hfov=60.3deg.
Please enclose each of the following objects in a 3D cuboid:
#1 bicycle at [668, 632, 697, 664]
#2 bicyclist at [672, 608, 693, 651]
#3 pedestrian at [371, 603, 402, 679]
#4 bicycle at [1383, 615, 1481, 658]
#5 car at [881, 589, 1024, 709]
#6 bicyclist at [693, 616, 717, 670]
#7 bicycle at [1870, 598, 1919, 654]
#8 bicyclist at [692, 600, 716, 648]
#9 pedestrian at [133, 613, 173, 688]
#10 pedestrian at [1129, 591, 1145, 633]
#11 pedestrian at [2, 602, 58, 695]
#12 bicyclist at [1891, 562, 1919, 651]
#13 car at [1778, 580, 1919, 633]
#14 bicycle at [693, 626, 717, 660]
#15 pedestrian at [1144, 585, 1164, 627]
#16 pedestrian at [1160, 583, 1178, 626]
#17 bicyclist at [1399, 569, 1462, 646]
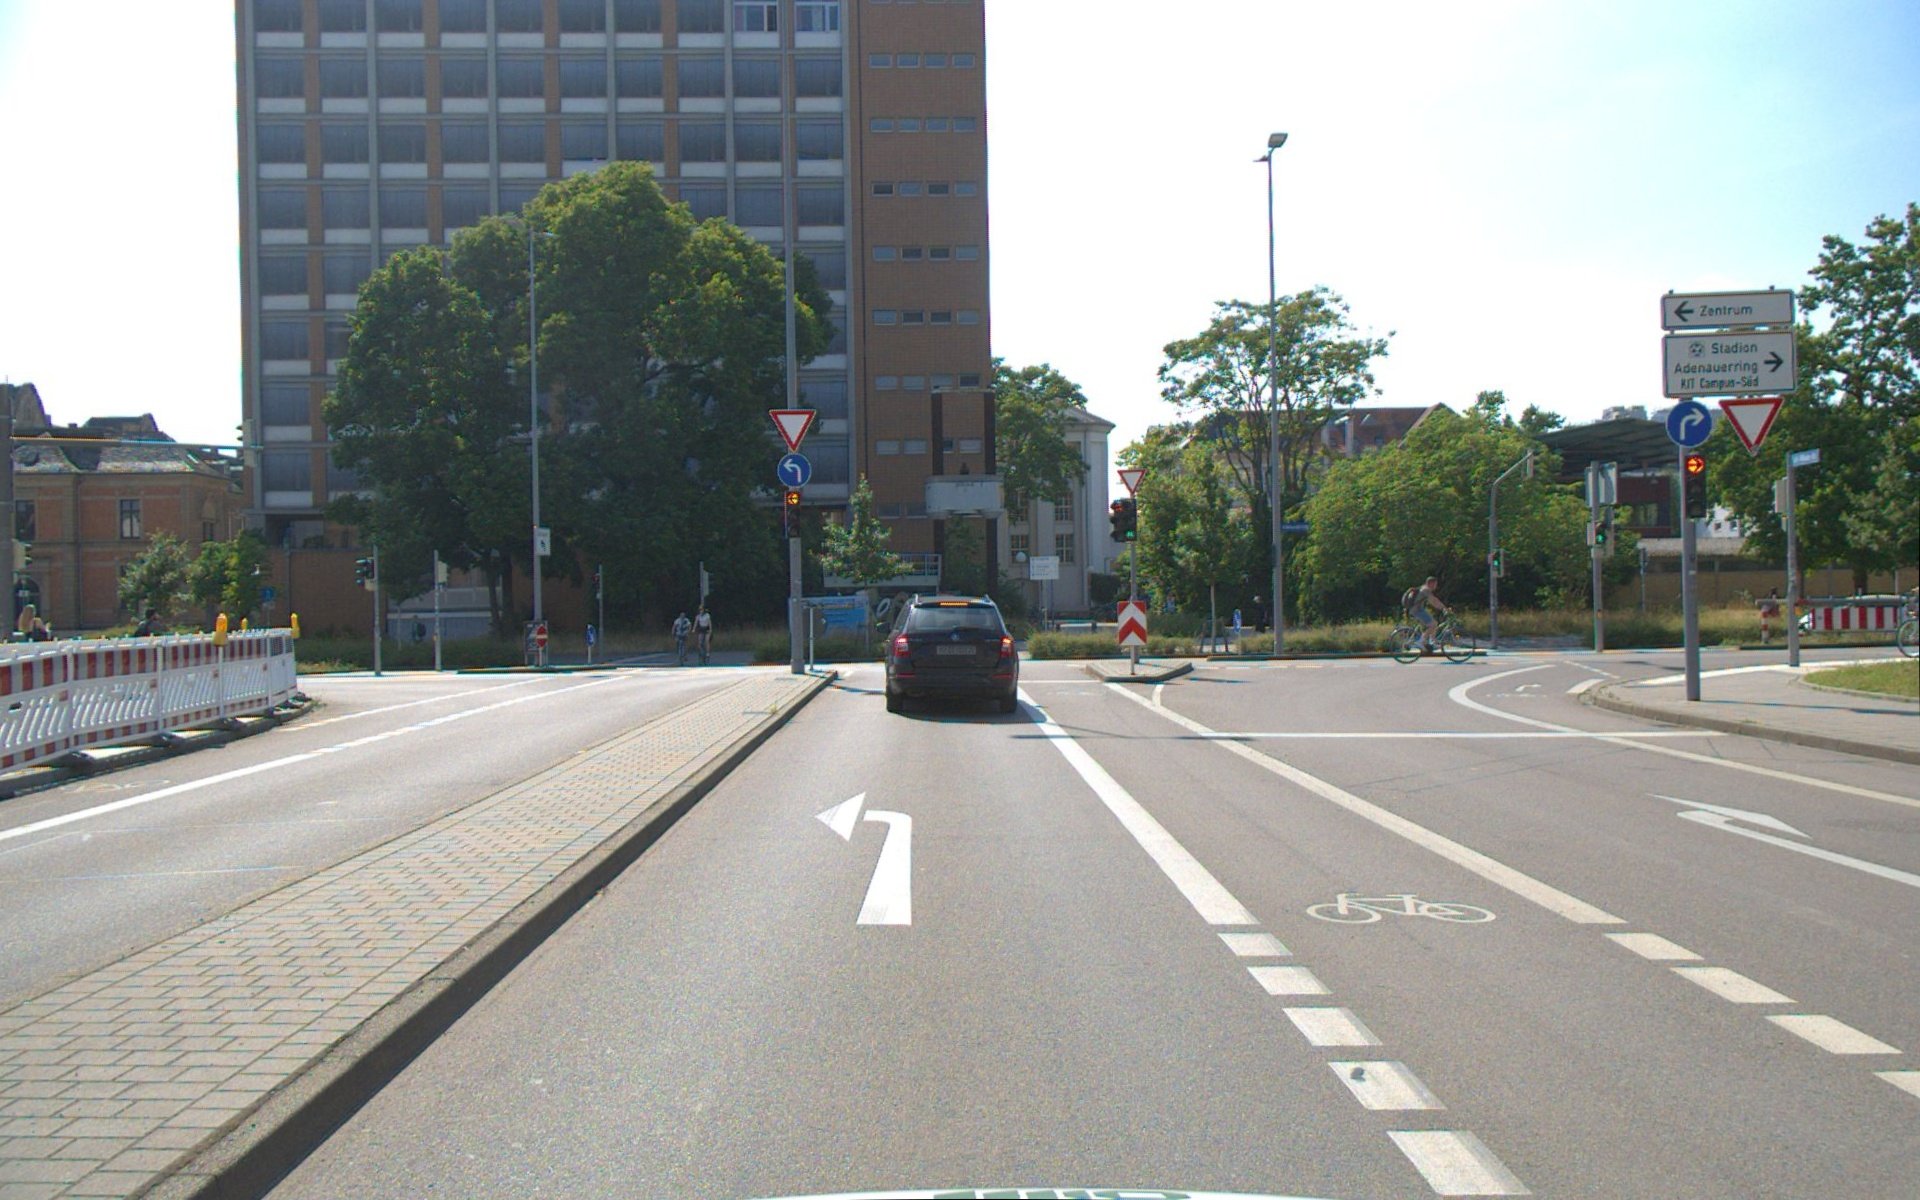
[{"bbox_3d":[-9.445,1.624,56.333,0.690,0.994,2.029,-2,0,-3],"label":"bicycle"},{"bbox_3d":[-9.450,1.009,56.363,0.528,1.441,1.029,-2,-1,-3],"label":"bicyclist"},{"bbox_3d":[-15.693,1.114,45.258,0.610,2.049,0.678,2,-2,-38],"label":"pedestrian"},{"bbox_3d":[9.505,0.726,33.327,1.849,0.806,0.561,-1,1,11],"label":"bicycle"},{"bbox_3d":[-0.111,0.605,22.239,1.743,1.468,3.817,0,0,-1],"label":"car"},{"bbox_3d":[-7.932,1.327,51.483,0.606,1.609,1.012,-4,0,-6],"label":"bicyclist"},{"bbox_3d":[16.528,0.426,27.720,0.669,0.932,2.134,-2,0,-43],"label":"bicycle"},{"bbox_3d":[-7.968,0.741,51.475,0.606,1.468,0.919,-4,0,-6],"label":"bicyclist"},{"bbox_3d":[-16.777,1.044,34.386,0.621,1.518,0.614,-2,0,-17],"label":"pedestrian"},{"bbox_3d":[8.121,0.571,76.008,0.584,1.907,0.639,0,-1,22],"label":"pedestrian"},{"bbox_3d":[-18.411,0.969,32.758,0.724,1.783,1.105,-2,-2,-17],"label":"pedestrian"},{"bbox_3d":[16.386,0.106,27.858,0.492,1.496,1.125,2,-2,-42],"label":"bicyclist"},{"bbox_3d":[27.404,0.216,50.457,3.906,1.490,1.999,-2,-1,-2],"label":"car"},{"bbox_3d":[-7.934,1.327,51.511,0.606,0.977,1.965,-4,0,-6],"label":"bicycle"},{"bbox_3d":[8.885,0.289,75.670,0.777,1.907,0.639,0,-1,20],"label":"pedestrian"},{"bbox_3d":[9.424,0.199,74.590,0.624,1.907,0.796,-3,0,-1],"label":"pedestrian"},{"bbox_3d":[9.480,0.153,33.344,1.140,1.500,0.564,-2,0,11],"label":"bicyclist"}]
